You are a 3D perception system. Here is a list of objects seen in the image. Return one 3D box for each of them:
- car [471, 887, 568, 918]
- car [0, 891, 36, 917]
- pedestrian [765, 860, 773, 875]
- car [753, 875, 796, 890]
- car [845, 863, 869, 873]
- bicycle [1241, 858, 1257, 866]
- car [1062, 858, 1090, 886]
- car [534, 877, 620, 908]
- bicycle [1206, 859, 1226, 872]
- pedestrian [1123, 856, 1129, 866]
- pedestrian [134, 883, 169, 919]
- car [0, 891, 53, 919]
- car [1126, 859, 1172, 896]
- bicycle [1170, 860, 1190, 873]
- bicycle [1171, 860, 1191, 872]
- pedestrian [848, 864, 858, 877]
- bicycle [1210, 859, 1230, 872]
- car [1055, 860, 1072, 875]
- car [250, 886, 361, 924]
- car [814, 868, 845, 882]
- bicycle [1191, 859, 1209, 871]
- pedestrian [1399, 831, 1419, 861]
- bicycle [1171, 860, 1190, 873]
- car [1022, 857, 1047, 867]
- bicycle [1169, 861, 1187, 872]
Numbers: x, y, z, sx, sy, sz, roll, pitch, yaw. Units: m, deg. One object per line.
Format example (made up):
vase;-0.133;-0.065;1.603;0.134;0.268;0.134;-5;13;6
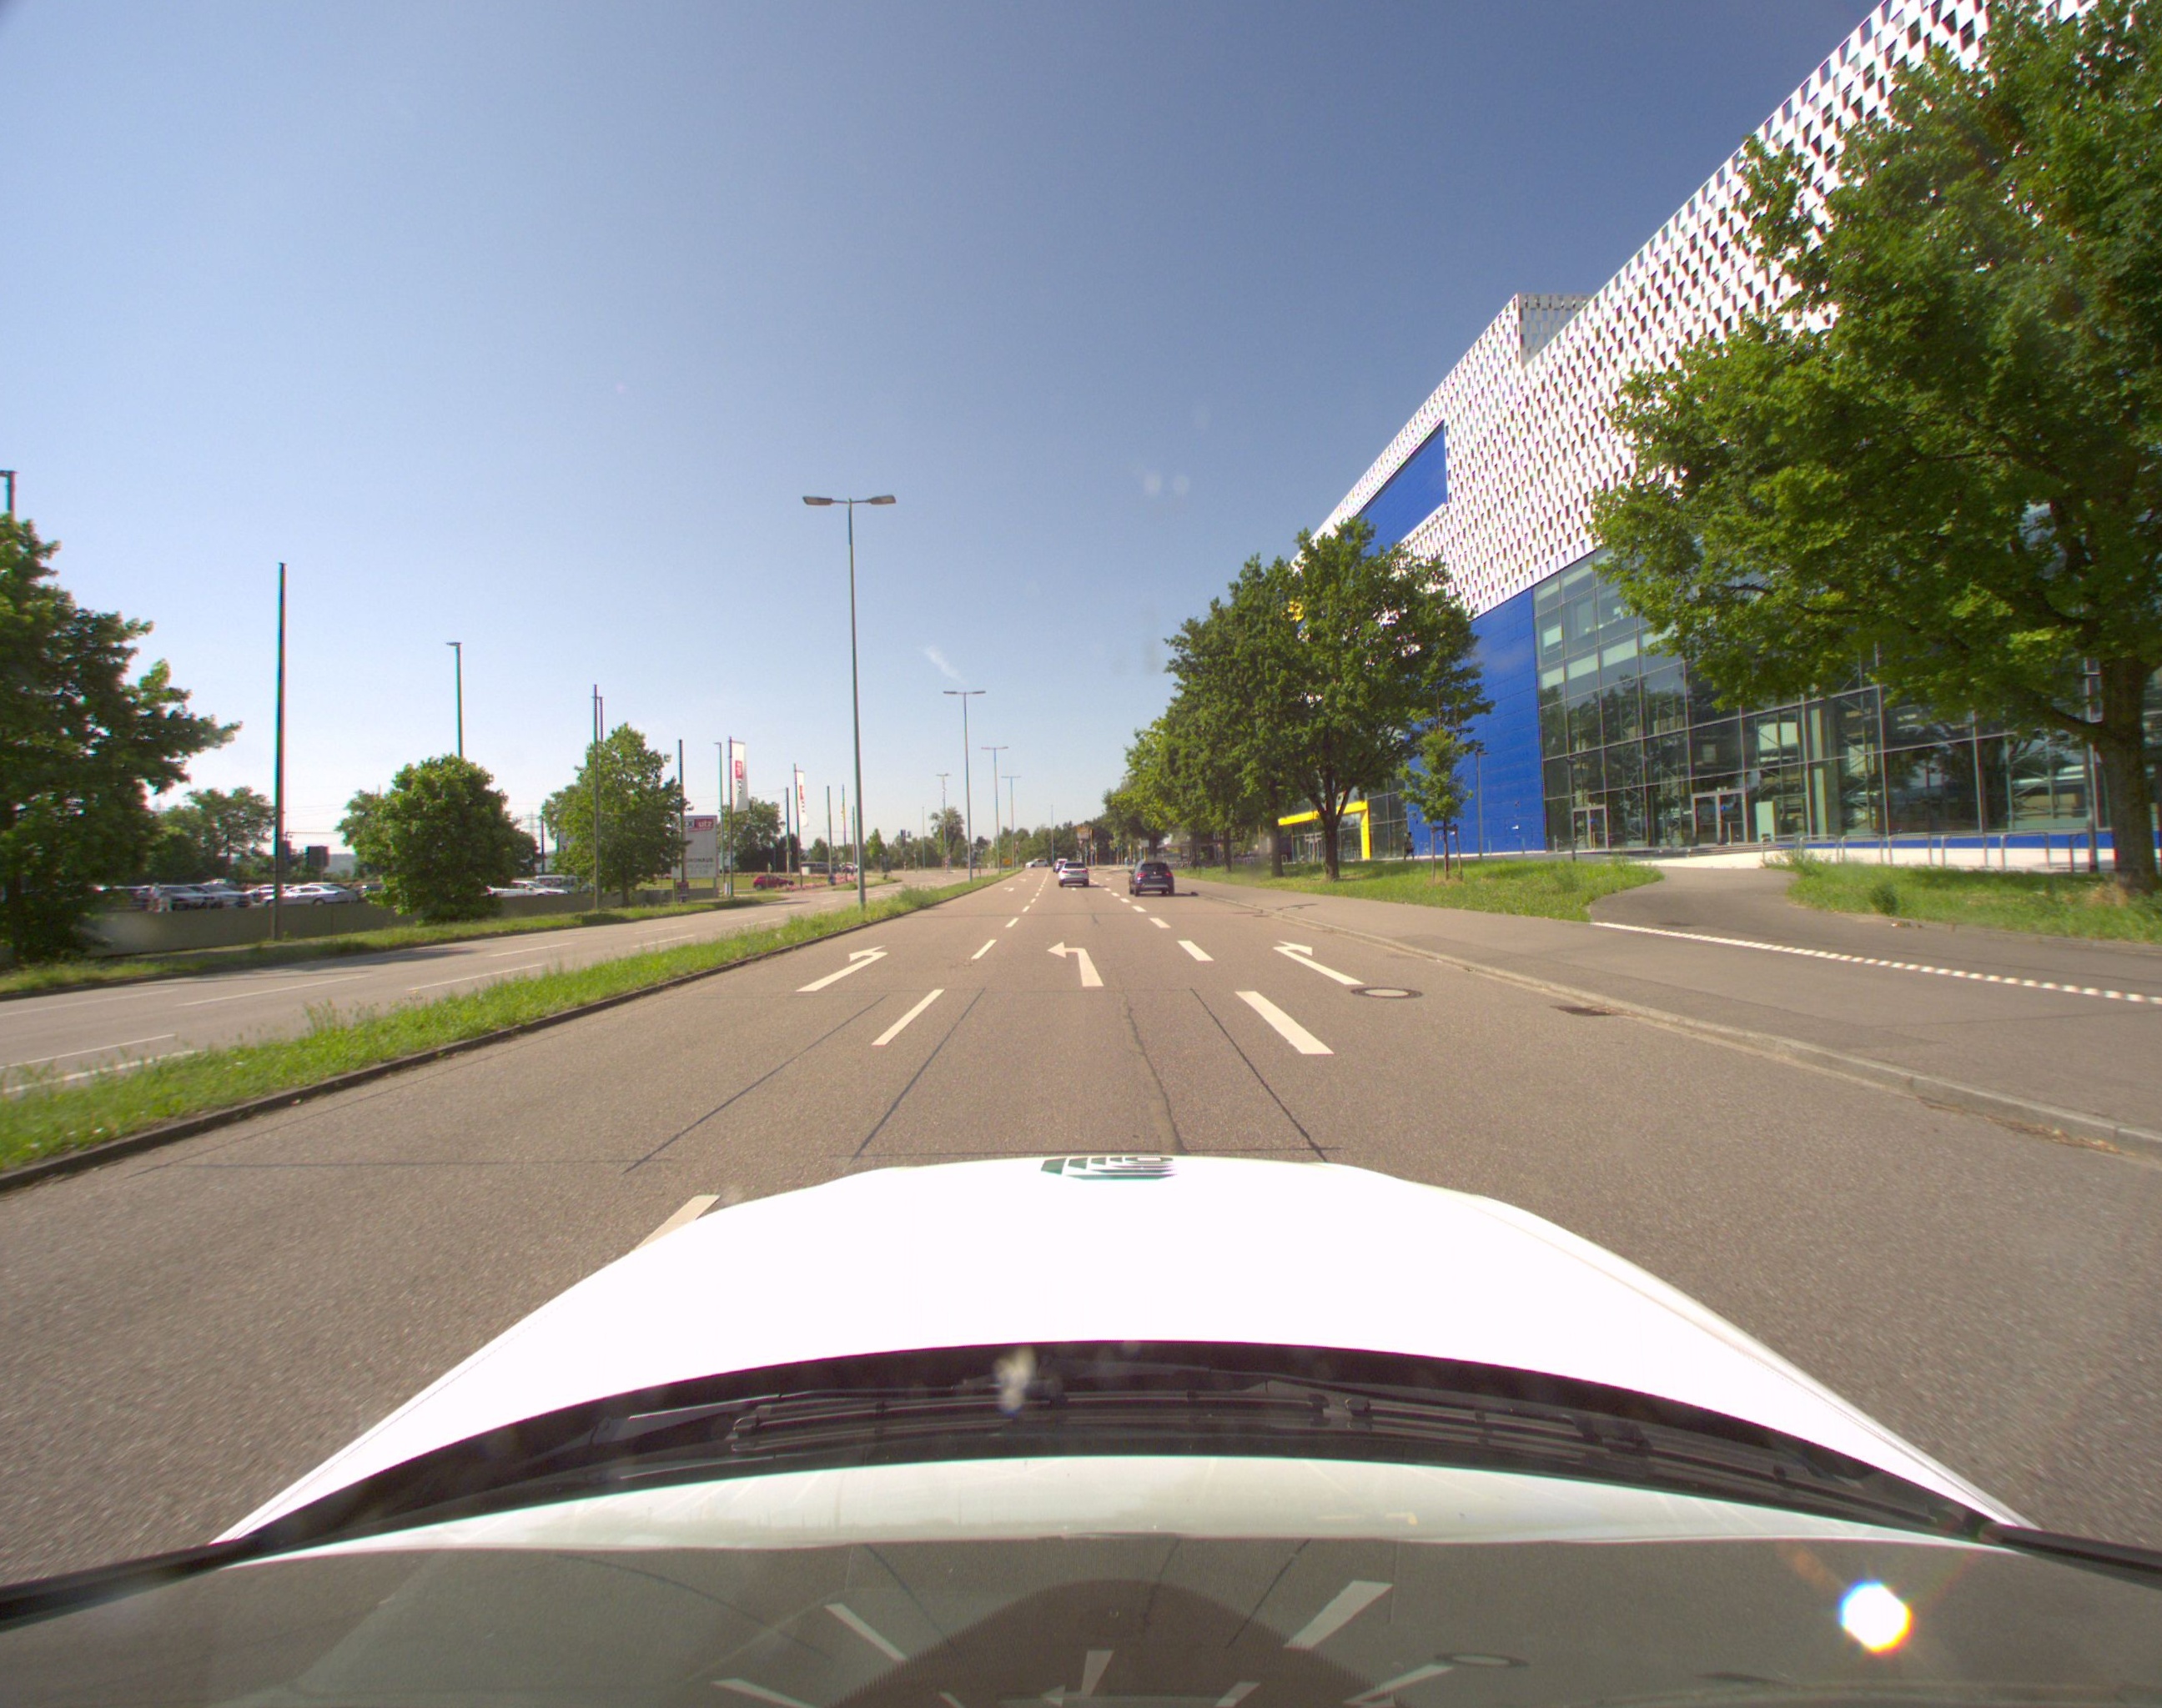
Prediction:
car;-33.721;2.885;49.004;4.405;1.628;1.868;-2;-3;-5
car;-57.975;2.681;43.124;3.081;1.330;1.514;-2;-2;-4
pedestrian;-41.697;1.871;108.765;0.713;1.972;0.918;-2;-2;2
car;-34.258;3.195;91.099;4.179;1.606;1.822;-2;-2;-7
car;-34.741;2.197;126.388;3.339;1.500;1.406;-2;-2;-7
bicycle;17.783;0.851;86.332;1.557;0.843;0.433;-2;-1;-1
car;-0.328;1.044;49.021;1.626;1.498;3.868;-1;1;-1
car;-33.416;2.511;54.042;4.402;1.843;1.943;-2;-1;-3
bicycle;12.533;1.055;75.648;1.754;1.096;0.452;-2;0;-3
pedestrian;6.628;1.022;119.320;0.768;1.510;1.010;-2;0;9
pedestrian;-54.053;2.734;47.357;0.855;2.013;1.025;-3;-1;12
car;-64.368;3.111;48.892;3.233;1.558;1.297;-2;-1;-7
car;2.968;0.995;36.017;1.665;1.523;3.375;-1;-1;-1
bicycle;9.228;1.164;76.050;1.754;1.096;0.452;-2;0;-3
bicycle;9.240;1.109;75.496;1.754;1.096;0.452;-2;0;-3
pedestrian;-30.022;2.136;107.304;0.835;1.707;0.908;-3;-1;10
bicycle;12.685;1.050;74.432;1.754;1.096;0.452;-2;0;-3
car;-2.038;1.489;93.073;1.702;1.573;4.169;-3;0;-3
car;-48.485;3.161;51.018;4.663;2.013;2.026;-3;0;-6
car;-35.903;3.016;116.192;3.954;1.925;1.825;0;0;19
bicycle;11.807;1.114;80.775;1.754;1.096;0.452;-2;0;-3
pedestrian;18.007;-0.422;44.744;0.687;1.612;0.770;-3;0;-6
bicycle;9.536;1.193;78.248;1.754;1.096;0.452;-2;0;-3
car;-8.188;1.387;142.862;4.096;1.547;1.783;-1;-1;-28
bicycle;9.771;1.270;81.901;1.754;1.096;0.452;-2;0;-3
